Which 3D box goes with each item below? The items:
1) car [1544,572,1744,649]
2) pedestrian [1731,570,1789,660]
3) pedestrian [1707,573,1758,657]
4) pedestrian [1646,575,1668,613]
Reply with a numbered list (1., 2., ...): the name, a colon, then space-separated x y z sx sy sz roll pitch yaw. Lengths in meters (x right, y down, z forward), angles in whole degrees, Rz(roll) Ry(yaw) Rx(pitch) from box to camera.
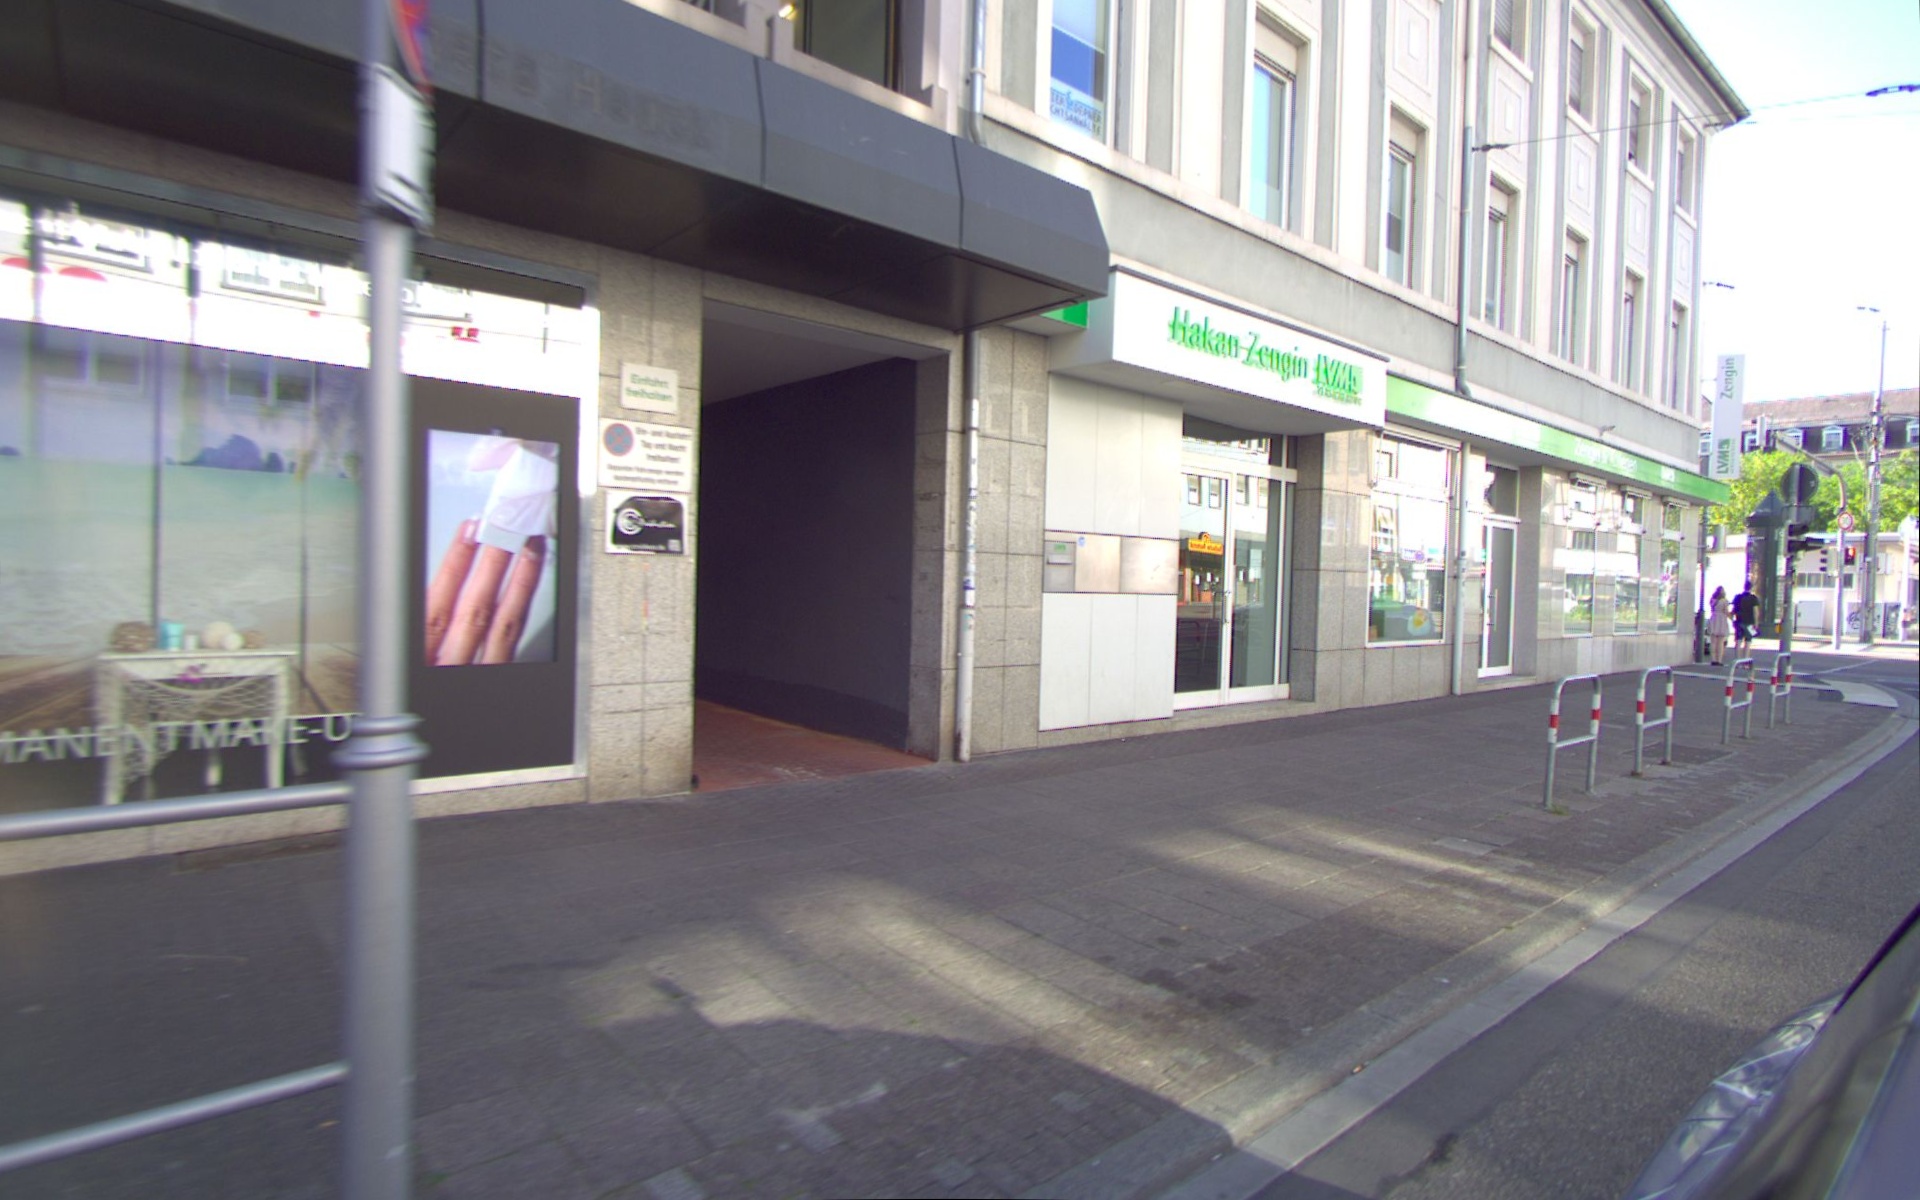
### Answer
1. car: 18.423 0.202 27.410 1.876 1.893 4.097 -2 2 -36
2. pedestrian: 17.021 0.308 21.536 0.628 1.865 0.683 1 1 -17
3. pedestrian: 16.708 0.319 21.897 0.562 1.781 0.651 0 1 -17
4. pedestrian: 32.427 -0.297 47.069 0.510 1.730 0.613 2 1 -17
